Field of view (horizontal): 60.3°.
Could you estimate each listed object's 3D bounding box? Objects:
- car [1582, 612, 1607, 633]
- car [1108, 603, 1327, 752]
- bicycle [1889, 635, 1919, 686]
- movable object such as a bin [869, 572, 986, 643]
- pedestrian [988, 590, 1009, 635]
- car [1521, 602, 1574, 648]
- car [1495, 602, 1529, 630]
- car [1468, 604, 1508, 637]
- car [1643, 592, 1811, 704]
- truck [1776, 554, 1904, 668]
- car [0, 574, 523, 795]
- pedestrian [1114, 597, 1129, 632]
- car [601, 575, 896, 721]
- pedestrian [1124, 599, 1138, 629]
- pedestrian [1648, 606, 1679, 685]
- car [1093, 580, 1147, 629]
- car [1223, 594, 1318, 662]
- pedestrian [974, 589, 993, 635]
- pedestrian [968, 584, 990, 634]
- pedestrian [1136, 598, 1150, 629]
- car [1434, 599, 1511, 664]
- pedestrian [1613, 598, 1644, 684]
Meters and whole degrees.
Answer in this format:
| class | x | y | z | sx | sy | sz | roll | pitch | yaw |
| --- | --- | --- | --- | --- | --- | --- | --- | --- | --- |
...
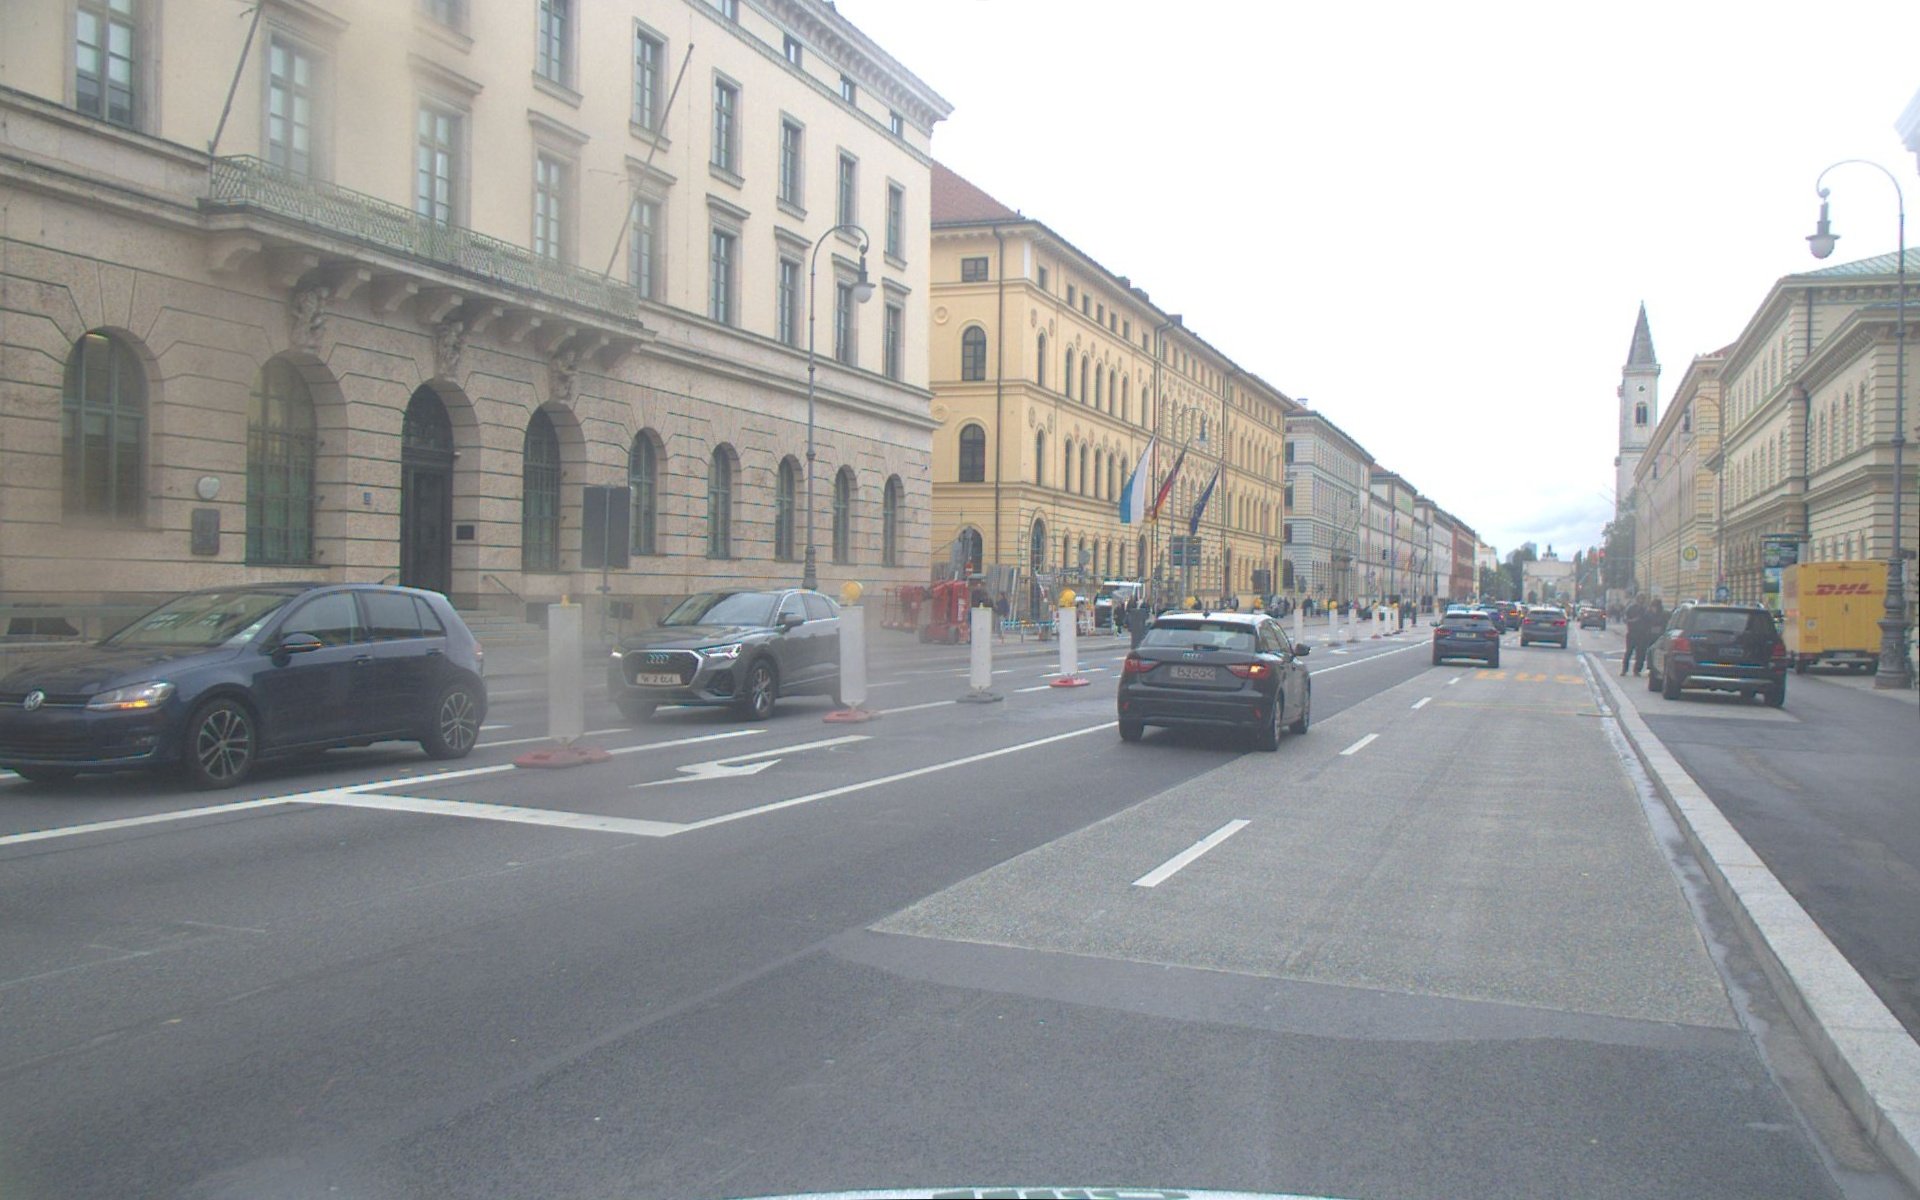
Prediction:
| class | x | y | z | sx | sy | sz | roll | pitch | yaw |
| --- | --- | --- | --- | --- | --- | --- | --- | --- | --- |
| car | 50.756 | 1.825 | 132.316 | 1.821 | 1.606 | 4.000 | 1 | -1 | 20 |
| car | 3.021 | 0.790 | 18.711 | 1.824 | 1.412 | 4.002 | 2 | 0 | 18 |
| bicycle | 20.021 | 1.273 | 35.014 | 0.508 | 1.040 | 1.648 | 1 | -1 | 27 |
| movable object such as a bin | -0.920 | 0.279 | 51.403 | 1.480 | 2.049 | 5.975 | 1 | -1 | 20 |
| pedestrian | 1.458 | 0.473 | 62.255 | 0.599 | 1.681 | 0.618 | 1 | -1 | 17 |
| car | 24.266 | 1.002 | 68.249 | 1.952 | 1.803 | 4.000 | 1 | 0 | 20 |
| car | 36.334 | 1.053 | 108.786 | 1.952 | 1.803 | 4.000 | 1 | 0 | 20 |
| car | 29.985 | 1.143 | 93.813 | 1.952 | 1.803 | 4.000 | 1 | 0 | 20 |
| car | 13.063 | 0.775 | 28.428 | 2.025 | 1.690 | 4.224 | 2 | 0 | 18 |
| truck | 23.675 | 0.333 | 44.739 | 2.570 | 2.813 | 5.803 | 1 | -1 | 24 |
| car | -5.367 | 0.583 | 12.864 | 1.707 | 1.413 | 4.241 | 0 | -1 | 20 |
| pedestrian | 7.357 | 0.664 | 75.401 | 0.541 | 1.557 | 0.618 | 1 | -1 | 17 |
| car | -2.462 | 0.549 | 20.512 | 1.748 | 1.594 | 4.577 | -1 | -1 | 20 |
| pedestrian | 8.263 | 0.669 | 79.742 | 0.528 | 1.431 | 0.618 | 1 | -1 | 17 |
| pedestrian | 15.646 | 1.015 | 36.788 | 0.603 | 1.732 | 0.541 | 1 | -1 | 23 |
| car | 8.124 | 0.245 | 83.933 | 1.703 | 2.328 | 4.000 | 1 | -1 | 21 |
| car | 8.113 | 0.729 | 42.978 | 1.732 | 1.645 | 4.000 | 1 | -1 | 21 |
| pedestrian | 0.894 | 0.449 | 62.418 | 0.541 | 1.705 | 0.618 | 1 | -1 | 17 |
| pedestrian | 0.765 | 0.371 | 65.709 | 0.665 | 1.965 | 0.652 | 1 | -1 | 17 |
| pedestrian | 8.817 | 0.658 | 79.581 | 0.528 | 1.435 | 0.618 | 1 | -1 | 17 |
| car | 13.994 | 0.855 | 45.033 | 1.732 | 1.645 | 4.000 | 1 | -1 | 21 |
| pedestrian | 14.988 | 0.917 | 37.085 | 0.603 | 1.908 | 0.541 | 1 | -1 | 25 |
